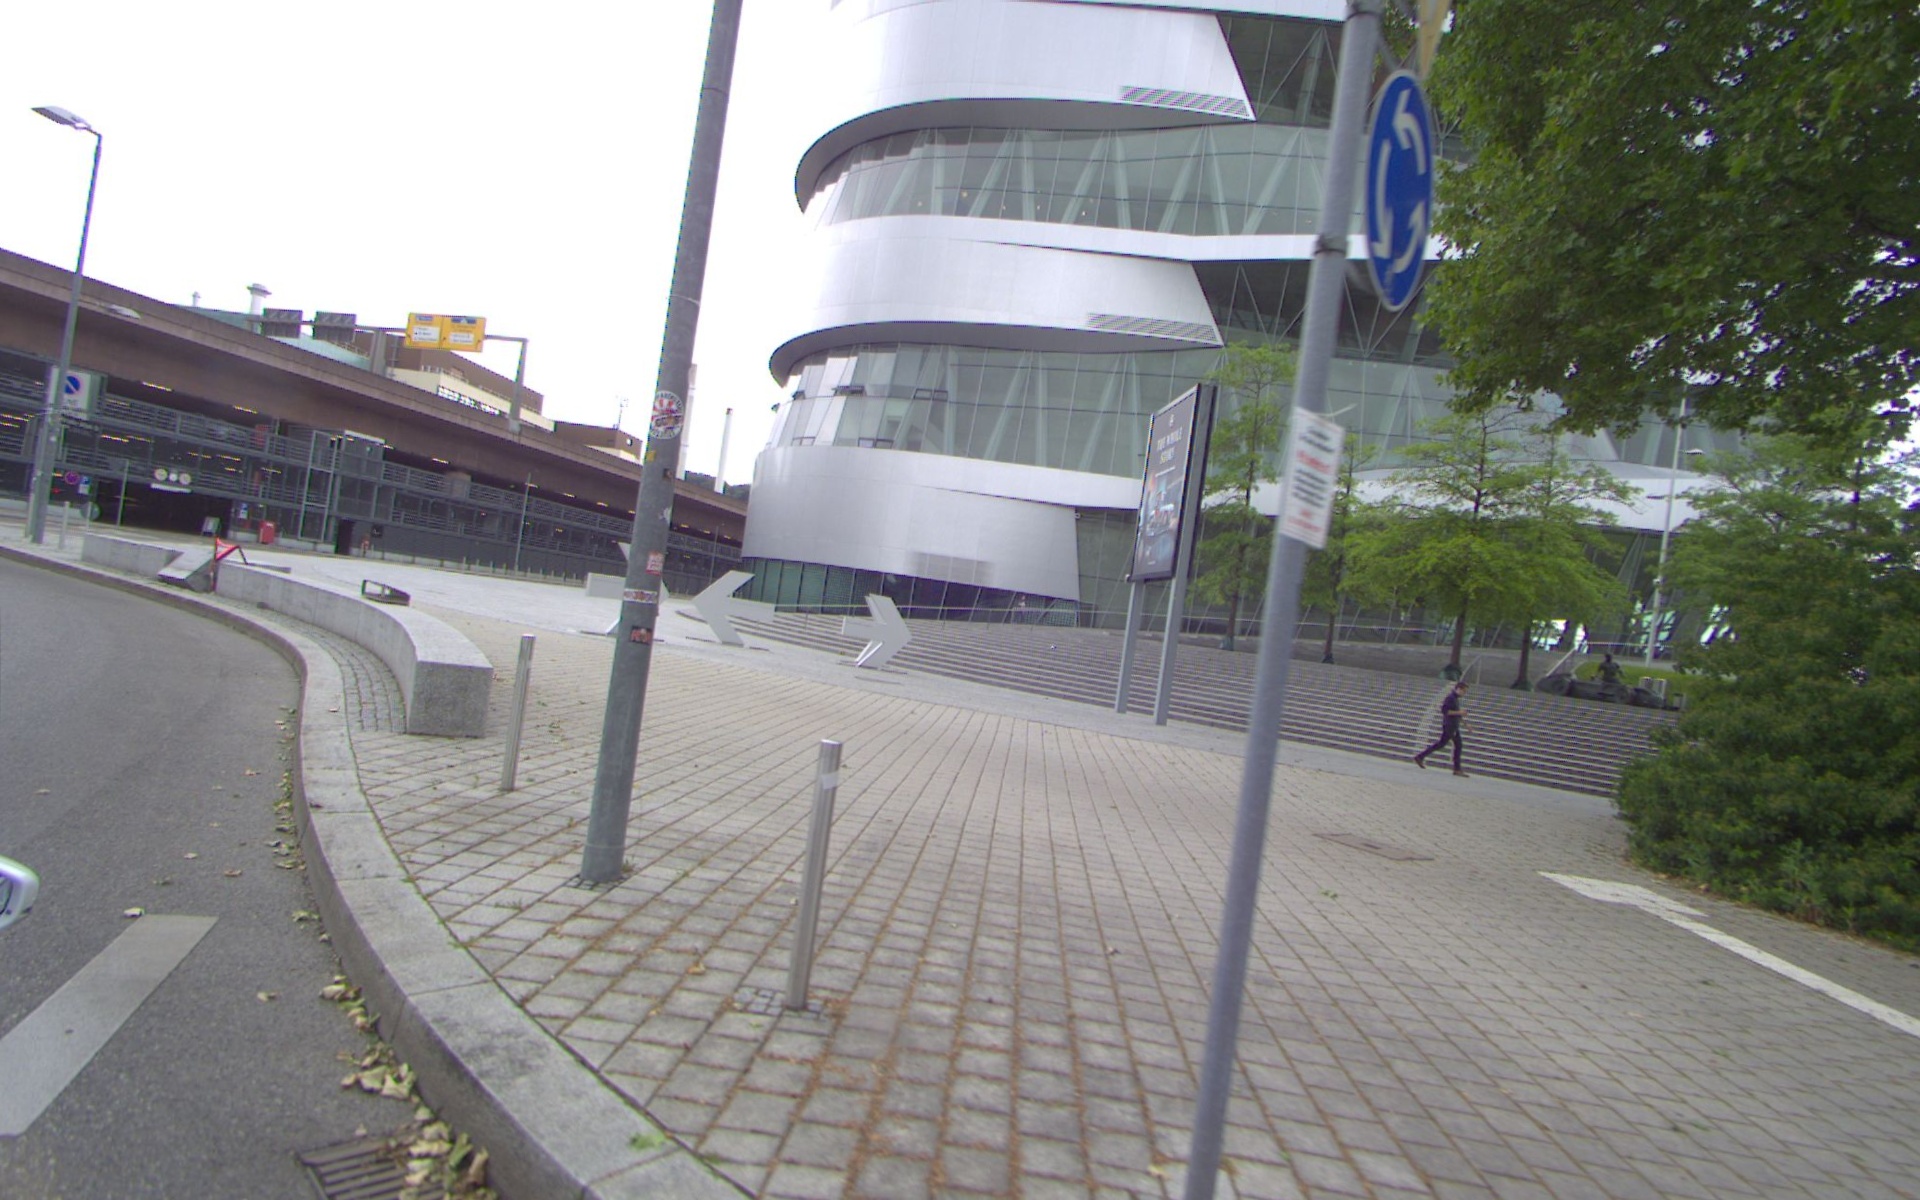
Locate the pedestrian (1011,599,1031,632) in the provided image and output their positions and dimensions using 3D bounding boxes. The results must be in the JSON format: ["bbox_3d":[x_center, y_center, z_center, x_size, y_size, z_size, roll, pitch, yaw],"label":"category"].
[{"bbox_3d":[3.530,0.889,58.292,0.706,1.843,0.620,8,-1,-21],"label":"pedestrian"}]

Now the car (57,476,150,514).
[{"bbox_3d":[-55.595,-6.809,65.368,1.963,1.592,4.004,8,-2,19],"label":"car"}]

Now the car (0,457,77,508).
[{"bbox_3d":[-46.166,-5.888,49.121,1.963,1.925,4.004,8,-2,19],"label":"car"}]

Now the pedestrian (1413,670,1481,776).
[{"bbox_3d":[9.173,2.309,18.963,0.615,1.843,0.713,8,-1,-21],"label":"pedestrian"}]

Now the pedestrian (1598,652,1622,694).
[{"bbox_3d":[21.402,2.410,33.140,0.495,1.283,0.617,7,-1,30],"label":"pedestrian"}]
